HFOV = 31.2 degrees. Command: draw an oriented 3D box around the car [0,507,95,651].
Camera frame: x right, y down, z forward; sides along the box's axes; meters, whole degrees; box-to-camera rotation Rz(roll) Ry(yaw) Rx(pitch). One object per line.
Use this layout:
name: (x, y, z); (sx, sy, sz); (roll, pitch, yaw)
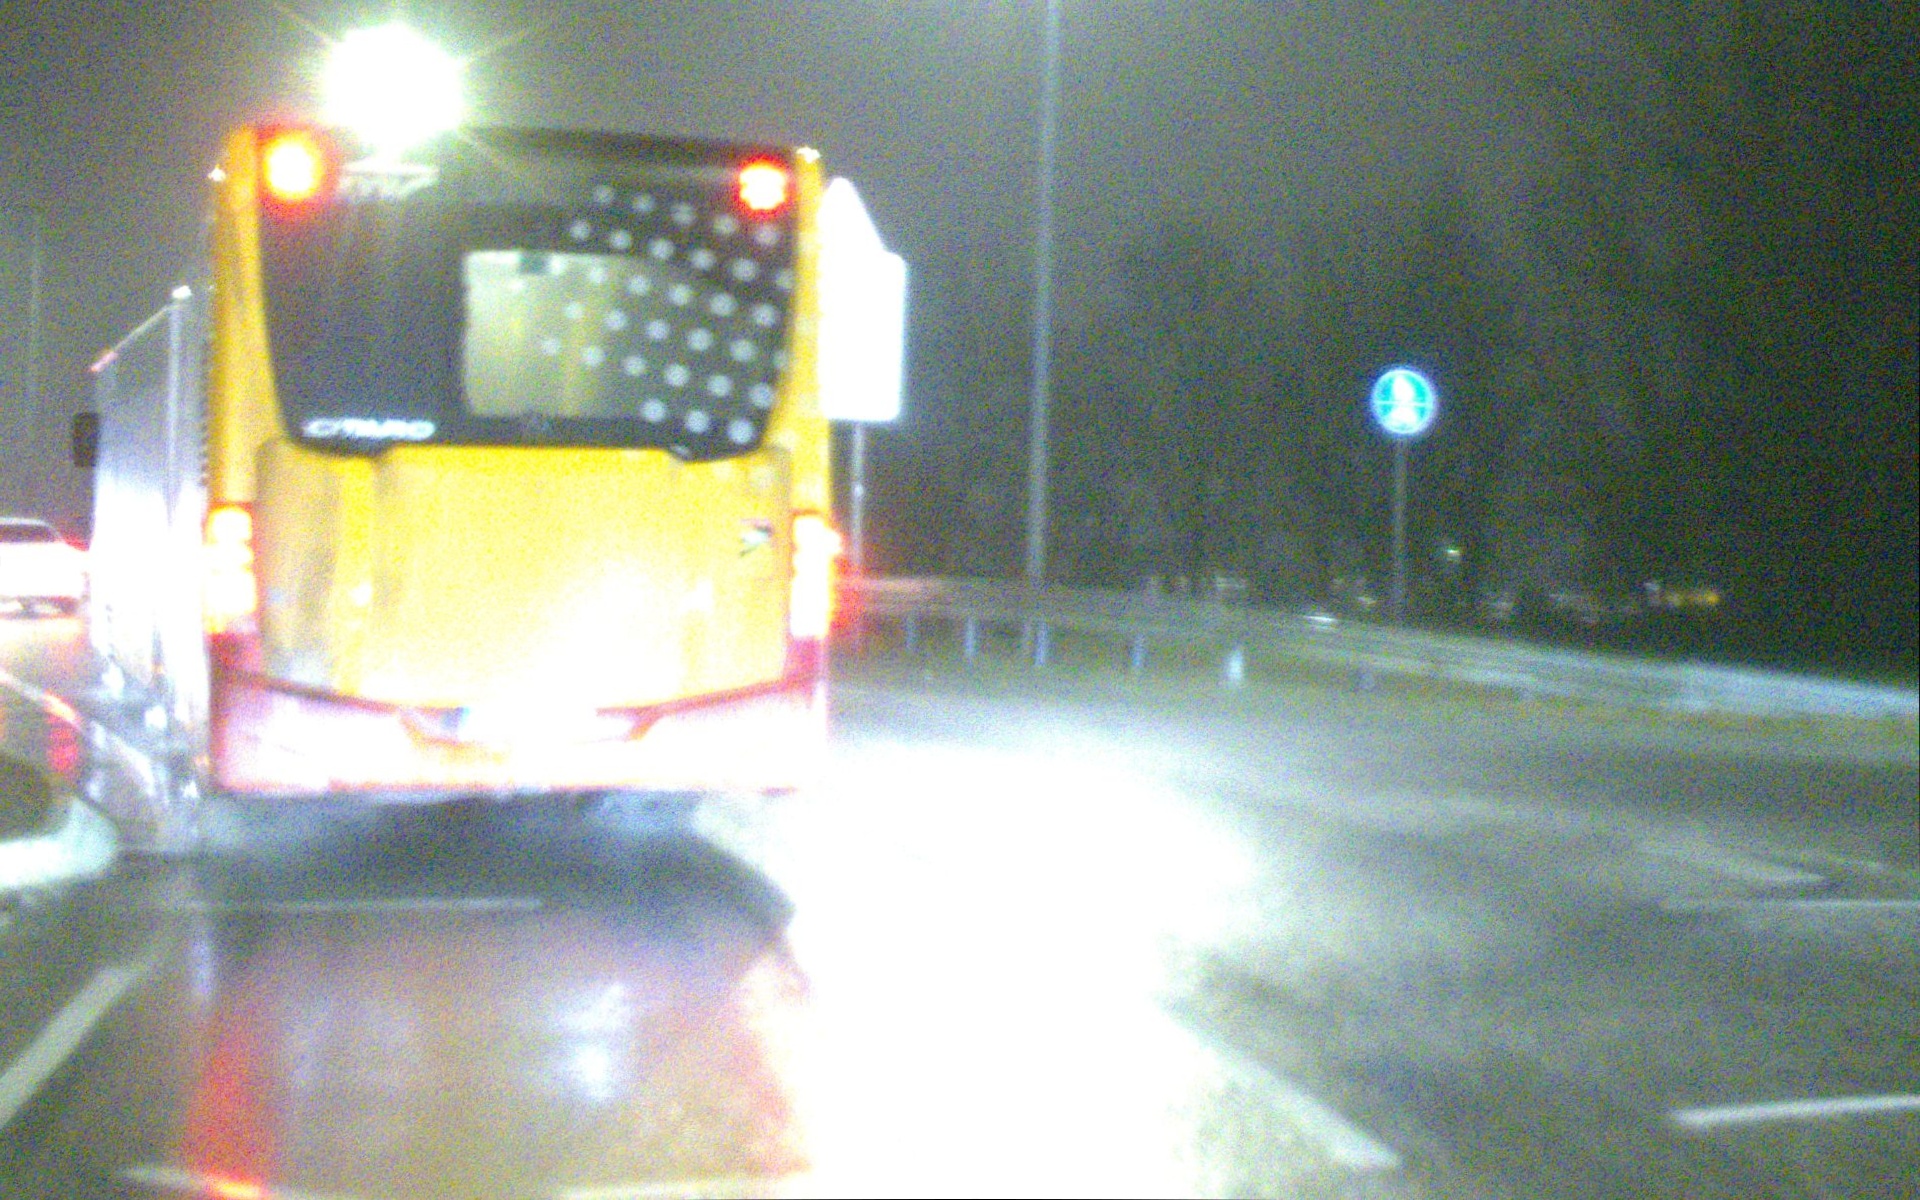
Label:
car: (-14.311, -0.321, 51.037); (1.993, 2.007, 4.349); (2, 0, -25)

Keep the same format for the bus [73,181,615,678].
bus: (-5.072, -1.242, 26.662); (3.246, 3.109, 8.648); (2, 2, -16)

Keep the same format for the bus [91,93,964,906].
bus: (-2.730, -0.679, 17.857); (3.284, 3.039, 9.549); (1, 4, -13)
